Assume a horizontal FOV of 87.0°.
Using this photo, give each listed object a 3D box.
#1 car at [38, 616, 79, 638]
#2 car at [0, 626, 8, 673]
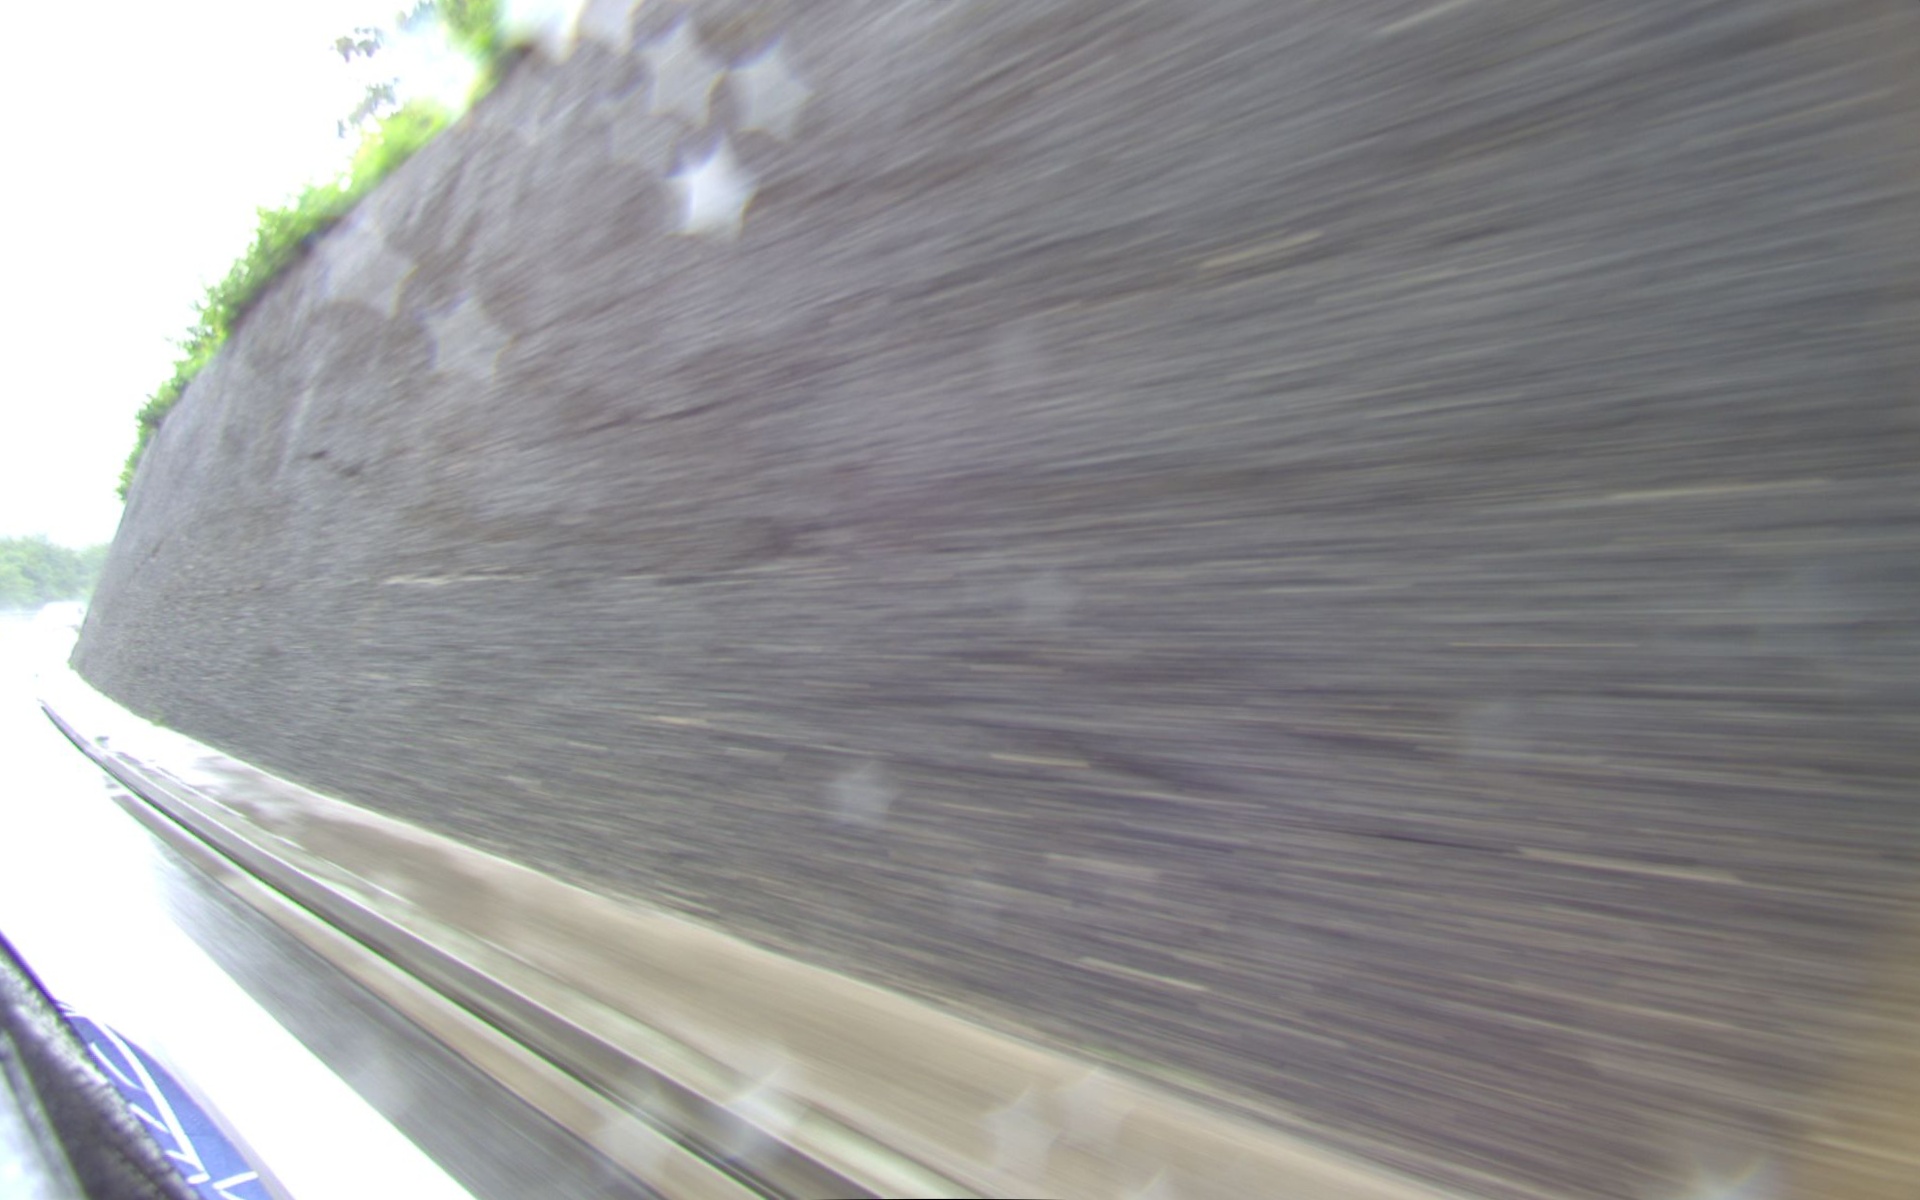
[{"bbox_3d":[-61.887,1.839,69.538,1.799,1.393,4.008,-3,1,-38],"label":"car"},{"bbox_3d":[-30.101,1.541,30.451,1.800,1.393,4.007,-3,1,-39],"label":"car"}]
